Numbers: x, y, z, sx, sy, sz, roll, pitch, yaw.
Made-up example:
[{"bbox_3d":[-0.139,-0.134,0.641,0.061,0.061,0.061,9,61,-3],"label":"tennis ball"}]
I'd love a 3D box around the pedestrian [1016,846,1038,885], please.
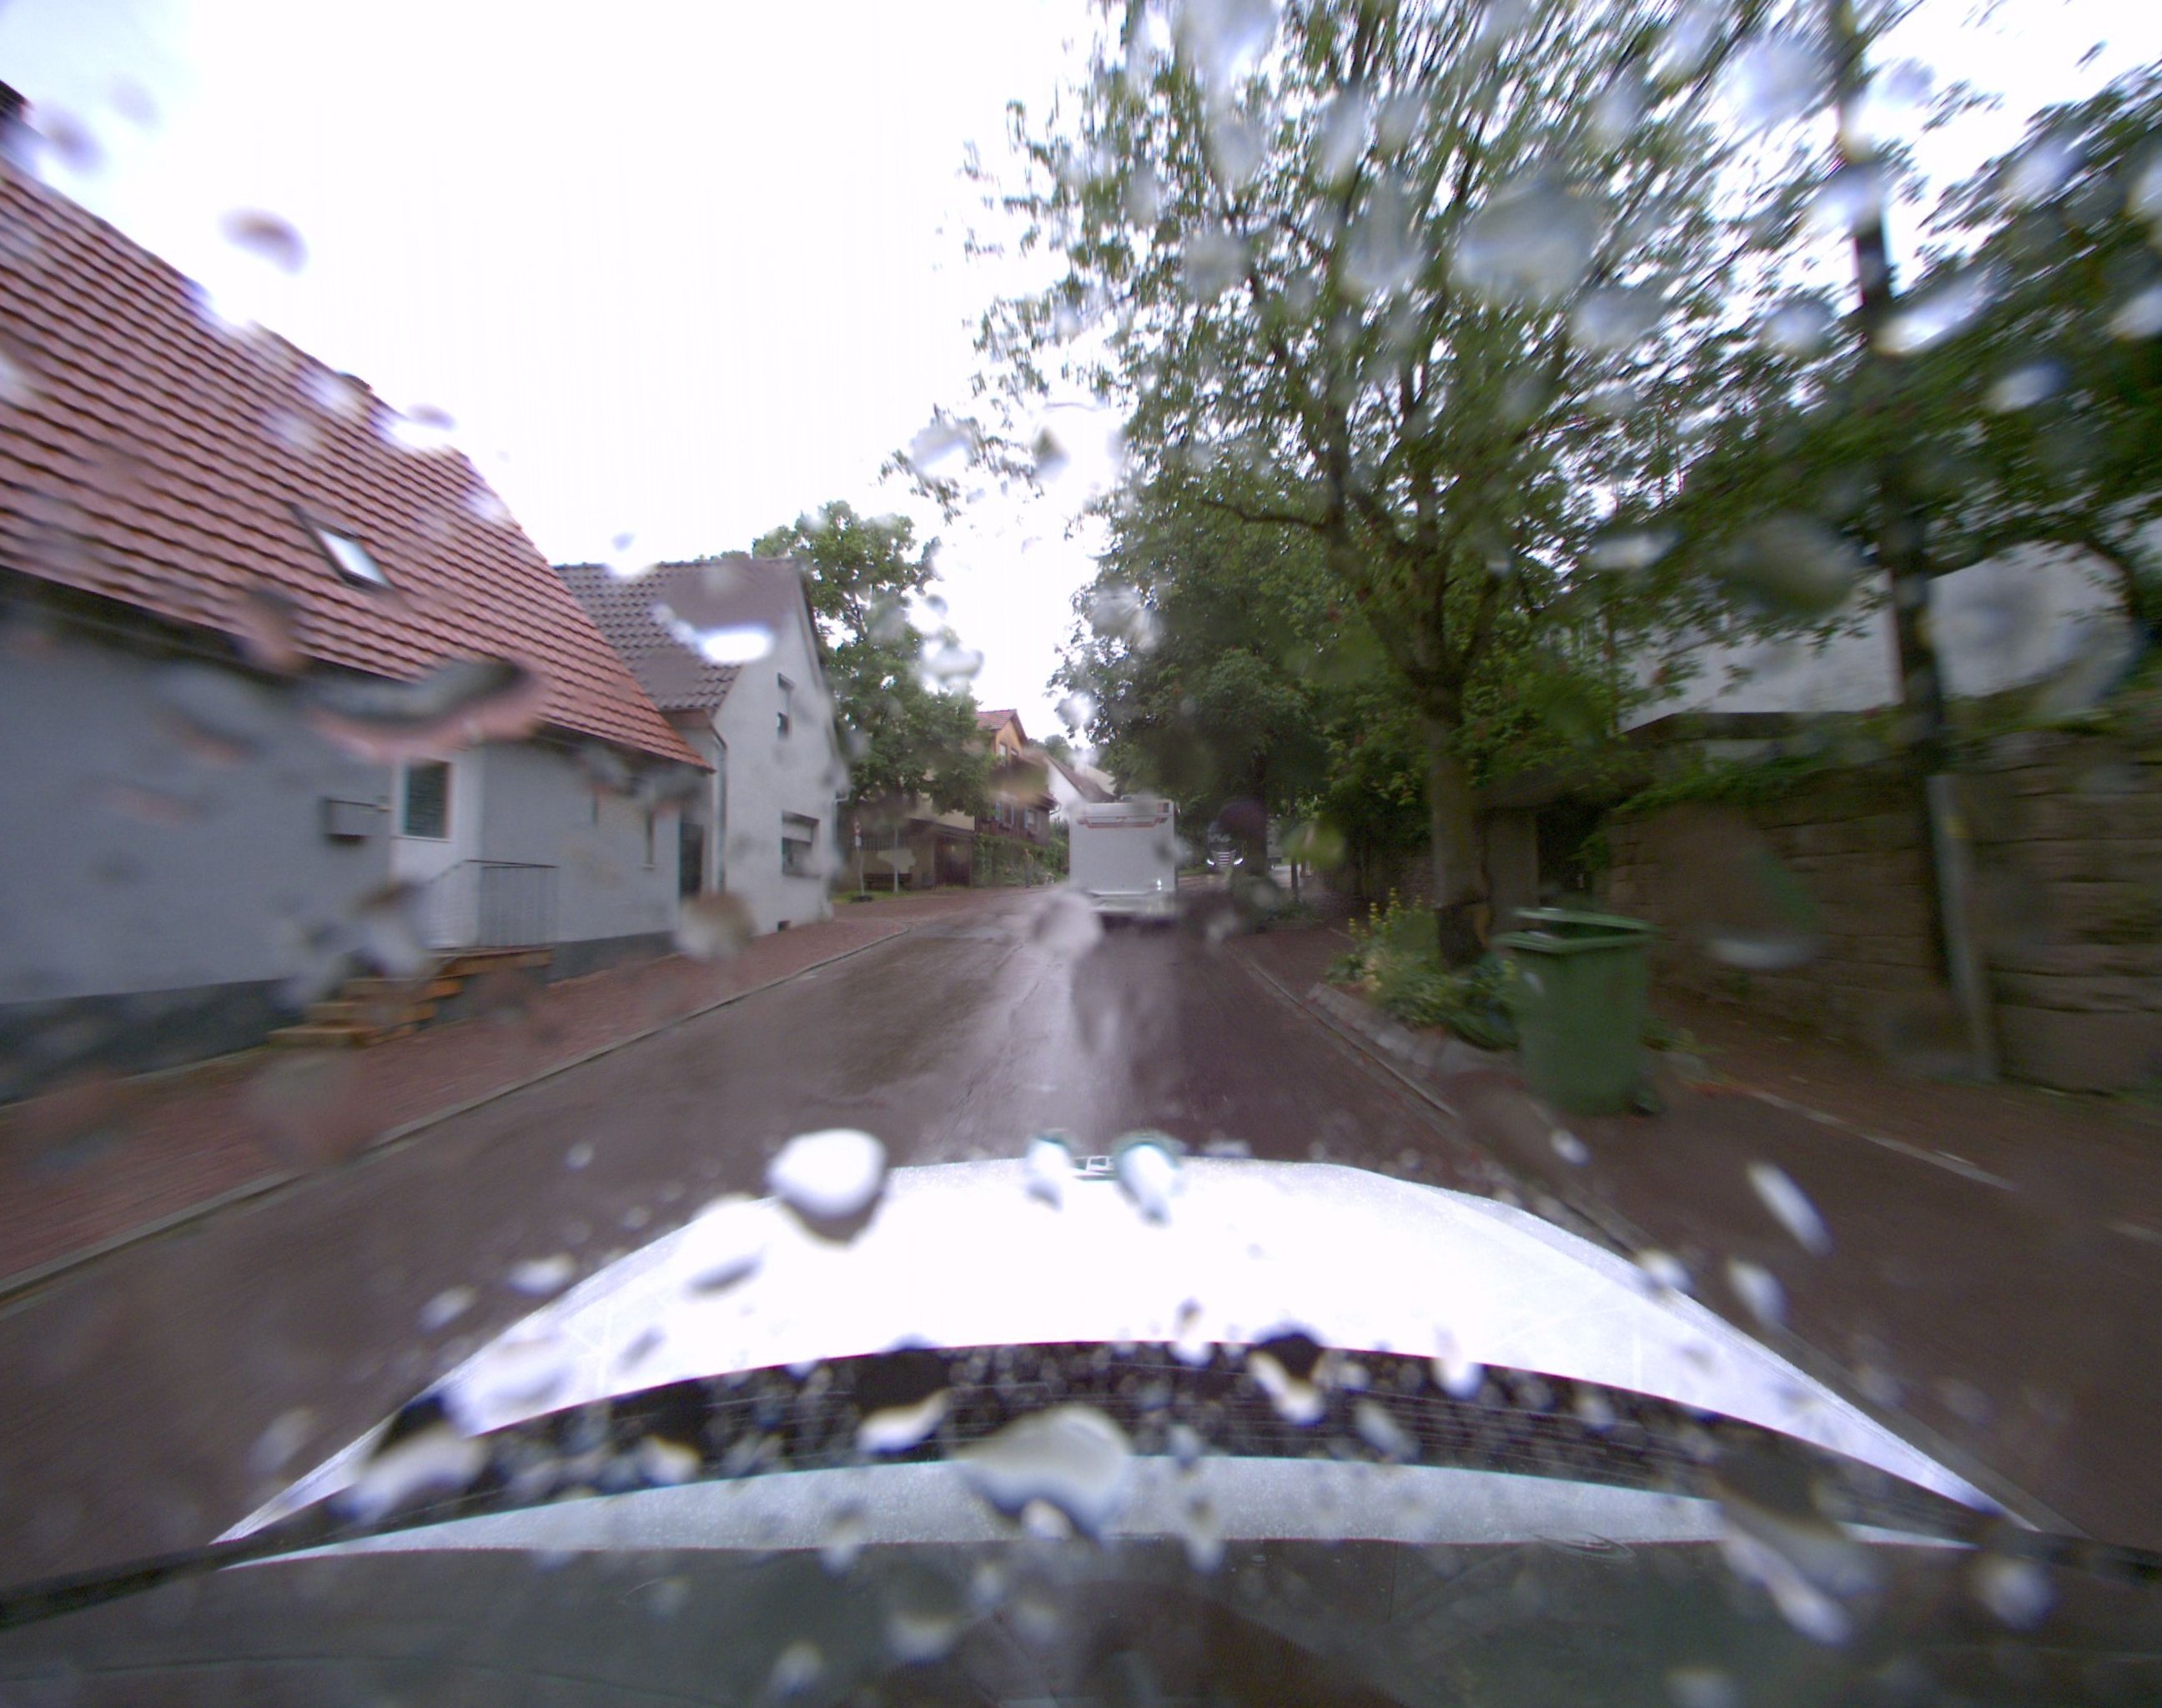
[{"bbox_3d":[-2.581,0.557,39.266,0.788,1.868,0.920,-1,-1,14],"label":"pedestrian"}]

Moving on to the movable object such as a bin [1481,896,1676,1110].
[{"bbox_3d":[2.936,0.841,4.874,0.721,1.143,0.703,-1,-1,-1],"label":"movable object such as a bin"}]

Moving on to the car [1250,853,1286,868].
[{"bbox_3d":[22.996,0.789,100.111,3.971,1.762,2.001,-1,-1,2],"label":"car"}]

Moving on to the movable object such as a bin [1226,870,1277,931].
[{"bbox_3d":[3.300,0.885,15.830,0.766,1.107,0.885,-3,-1,2],"label":"movable object such as a bin"}]

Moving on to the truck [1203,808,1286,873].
[{"bbox_3d":[11.721,-0.845,57.353,2.811,4.166,10.038,-1,0,29],"label":"truck"}]

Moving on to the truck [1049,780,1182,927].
[{"bbox_3d":[1.001,-0.020,19.796,2.681,2.986,6.246,-1,0,5],"label":"truck"}]
